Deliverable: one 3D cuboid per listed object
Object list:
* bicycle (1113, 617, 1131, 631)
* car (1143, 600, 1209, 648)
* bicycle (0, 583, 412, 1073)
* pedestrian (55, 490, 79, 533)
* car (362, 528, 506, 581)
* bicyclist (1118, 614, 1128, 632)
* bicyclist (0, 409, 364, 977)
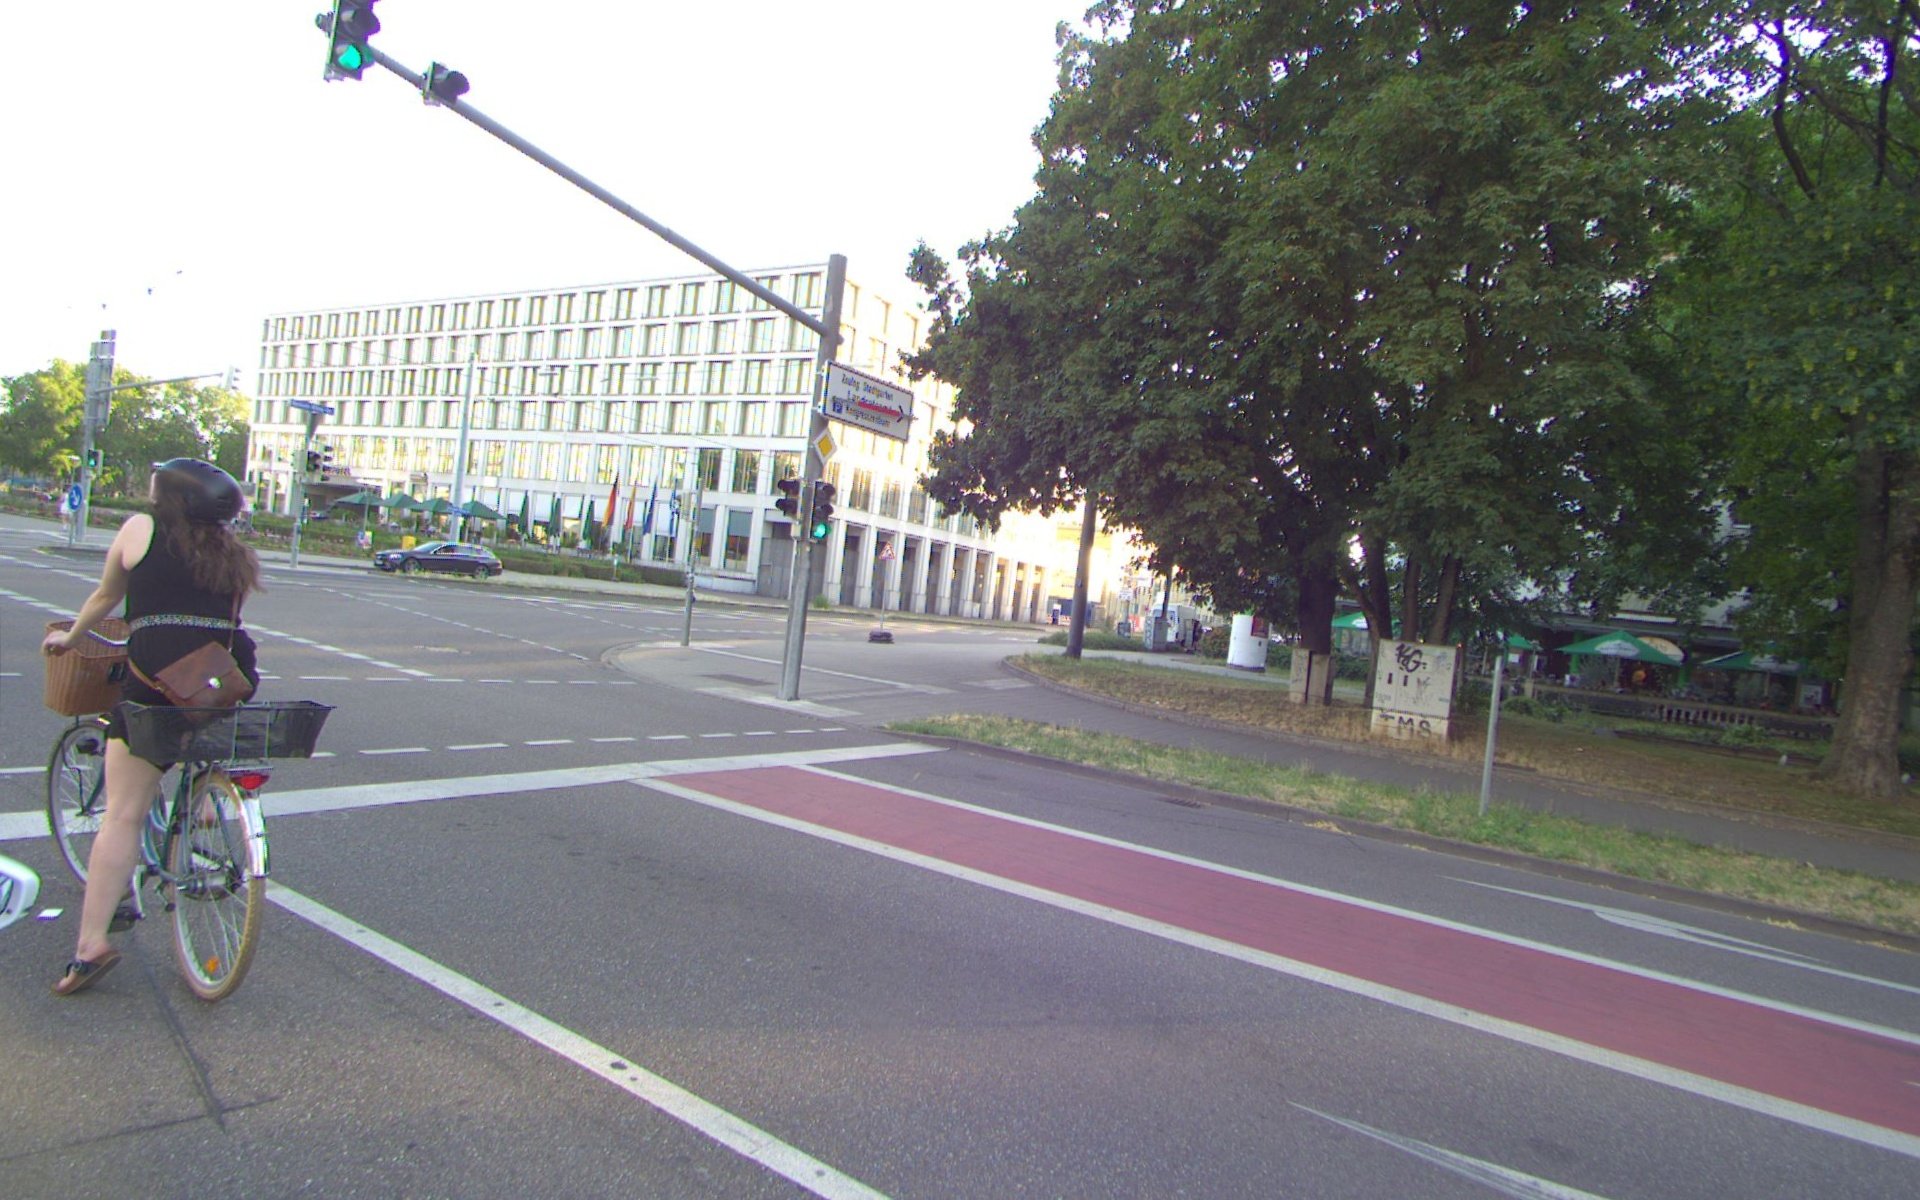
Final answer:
[{"bbox_3d":[15.149,2.278,93.963,0.592,1.120,2.775,7,0,29],"label":"bicycle"},{"bbox_3d":[11.987,1.366,55.606,1.967,2.318,4.605,6,0,31],"label":"car"},{"bbox_3d":[-2.802,0.619,3.457,1.971,1.146,0.612,7,-1,32],"label":"bicycle"},{"bbox_3d":[-33.777,-3.346,38.046,0.402,1.559,0.491,7,2,31],"label":"pedestrian"},{"bbox_3d":[-21.583,-1.844,41.501,1.968,1.534,4.826,7,0,34],"label":"car"},{"bbox_3d":[15.205,2.129,94.030,0.567,1.556,0.708,7,1,29],"label":"bicyclist"},{"bbox_3d":[-2.704,0.248,3.430,0.982,1.655,0.600,7,0,32],"label":"bicyclist"}]
